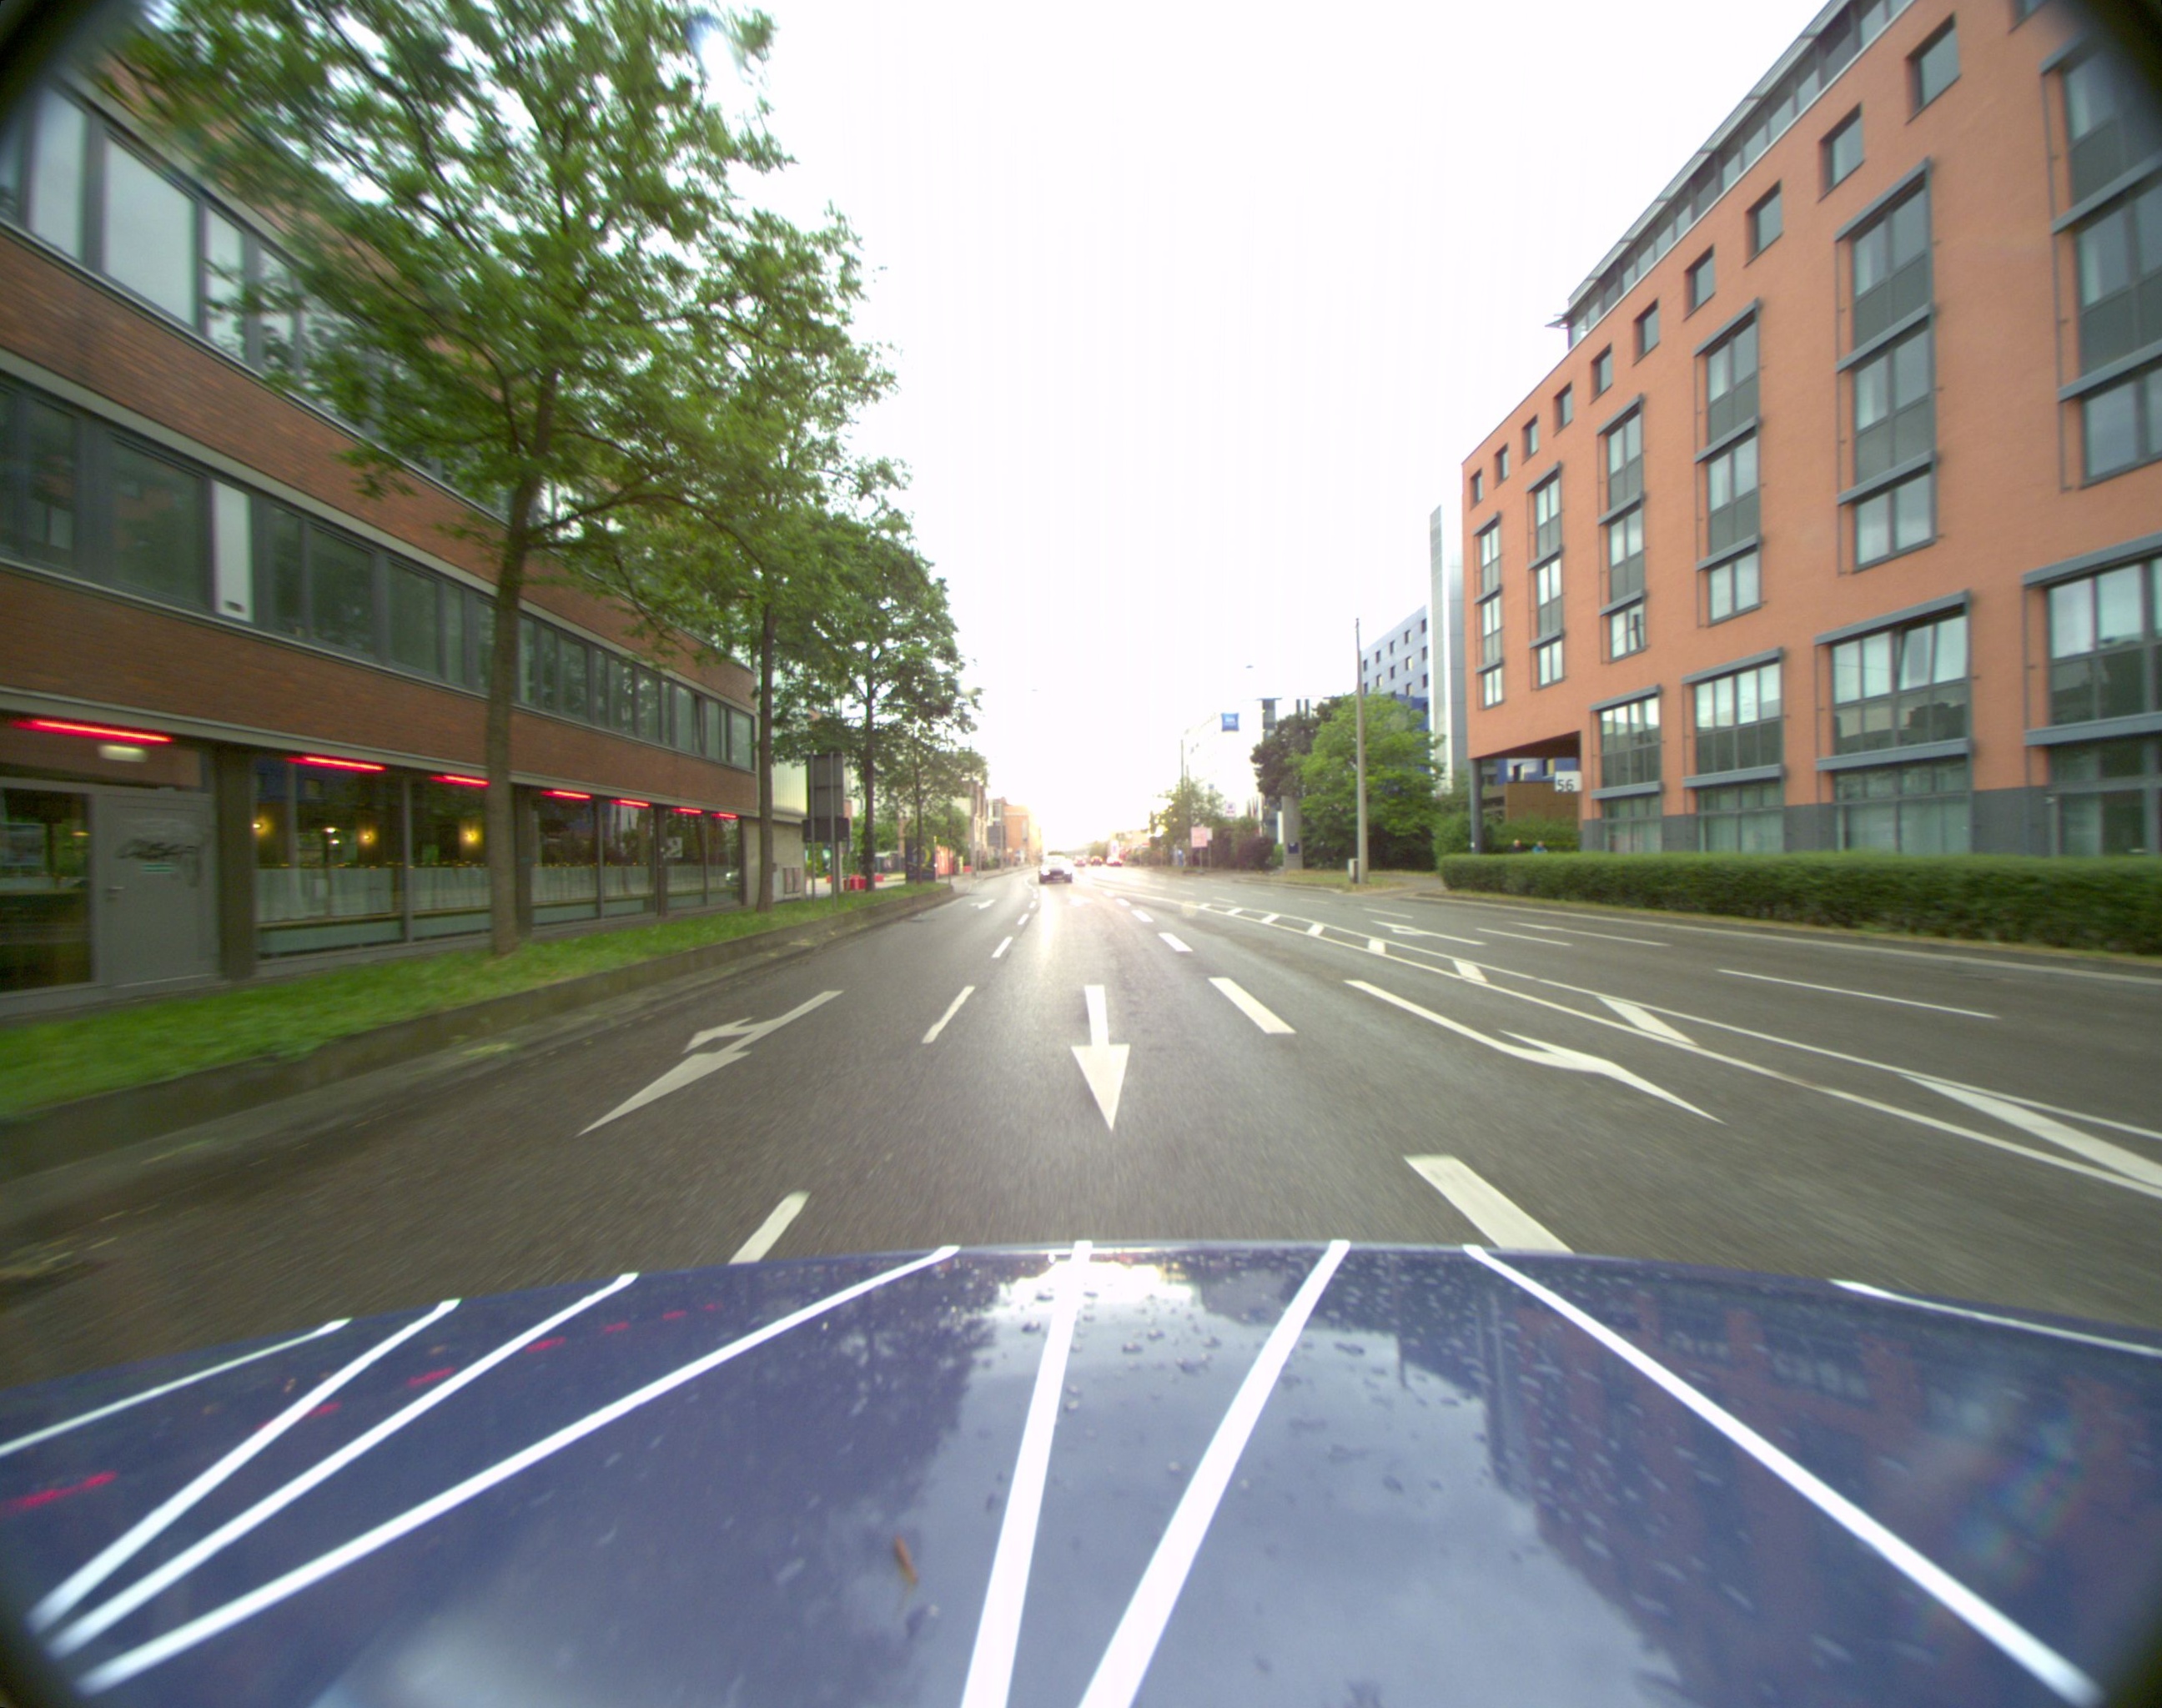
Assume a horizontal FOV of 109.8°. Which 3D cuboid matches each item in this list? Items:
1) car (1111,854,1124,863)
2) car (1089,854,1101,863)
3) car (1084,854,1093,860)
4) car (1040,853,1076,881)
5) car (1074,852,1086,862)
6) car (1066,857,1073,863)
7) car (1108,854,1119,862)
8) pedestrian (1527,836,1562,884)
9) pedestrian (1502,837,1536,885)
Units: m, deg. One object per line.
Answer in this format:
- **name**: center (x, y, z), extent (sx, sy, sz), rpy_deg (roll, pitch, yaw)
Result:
- **car**: center (6.197, 0.744, 129.059), extent (1.767, 1.559, 3.999), rpy_deg (1, 0, -3)
- **car**: center (2.580, 0.838, 137.945), extent (1.999, 1.543, 4.000), rpy_deg (-1, 0, 0)
- **car**: center (1.768, 0.693, 181.306), extent (1.999, 1.543, 4.000), rpy_deg (-1, 0, 0)
- **car**: center (-1.548, 0.833, 49.321), extent (1.999, 1.656, 5.422), rpy_deg (-2, 0, -5)
- **car**: center (-0.132, 0.514, 124.801), extent (1.999, 1.543, 4.000), rpy_deg (-1, 0, 0)
- **car**: center (-2.958, 1.626, 192.615), extent (1.799, 1.501, 4.000), rpy_deg (0, -1, 0)
- **car**: center (6.268, 0.758, 145.819), extent (1.767, 1.559, 3.999), rpy_deg (1, 0, -2)
- **pedestrian**: center (18.095, 0.241, 29.677), extent (0.747, 1.830, 0.885), rpy_deg (-2, 1, -1)
- **pedestrian**: center (17.221, 0.264, 29.880), extent (0.747, 1.830, 0.885), rpy_deg (-2, 1, -1)
